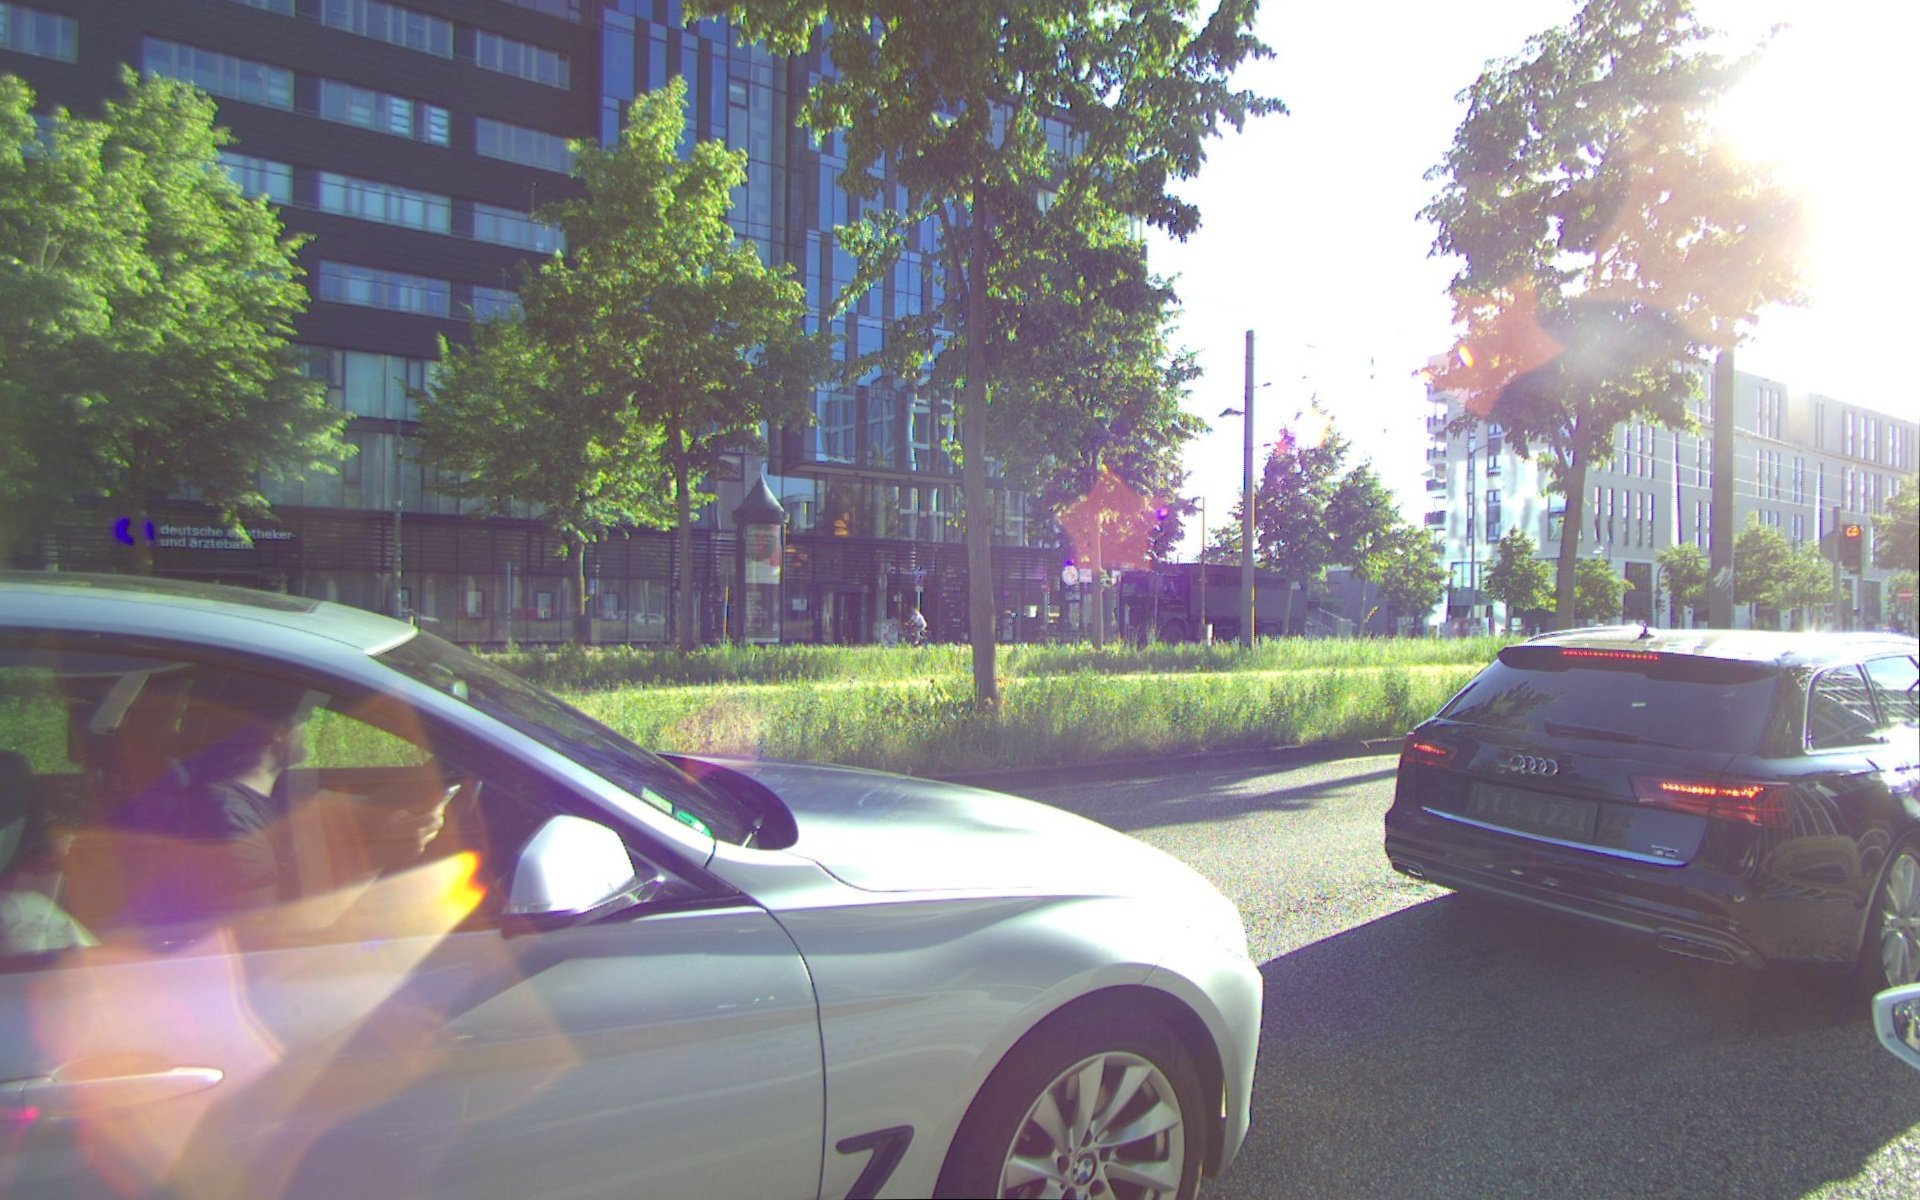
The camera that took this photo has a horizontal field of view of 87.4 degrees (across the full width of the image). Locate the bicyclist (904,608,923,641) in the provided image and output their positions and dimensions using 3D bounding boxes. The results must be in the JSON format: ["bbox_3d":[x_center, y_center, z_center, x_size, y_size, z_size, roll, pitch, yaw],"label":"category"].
[{"bbox_3d":[-2.057,1.094,44.480,0.619,1.425,0.490,2,0,-30],"label":"bicyclist"}]

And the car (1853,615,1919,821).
[{"bbox_3d":[9.219,0.924,8.126,4.064,1.548,1.800,1,-1,-30],"label":"car"}]

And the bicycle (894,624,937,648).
[{"bbox_3d":[-1.971,1.609,44.536,1.826,1.047,0.525,2,0,-31],"label":"bicycle"}]

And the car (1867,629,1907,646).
[{"bbox_3d":[79.188,3.186,85.766,3.669,1.360,1.572,2,-1,-31],"label":"car"}]

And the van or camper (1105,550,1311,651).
[{"bbox_3d":[11.563,0.151,46.270,10.109,4.248,2.740,2,-1,-30],"label":"van or camper"}]

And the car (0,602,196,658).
[{"bbox_3d":[-24.509,0.847,28.722,3.950,1.525,1.746,1,-1,-28],"label":"car"}]

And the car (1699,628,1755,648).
[{"bbox_3d":[53.033,2.623,69.461,4.420,1.360,1.572,2,-1,-31],"label":"car"}]

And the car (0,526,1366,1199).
[{"bbox_3d":[-1.502,0.675,1.916,4.689,1.508,1.799,1,-1,-31],"label":"car"}]

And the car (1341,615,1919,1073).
[{"bbox_3d":[4.201,0.849,5.197,4.455,1.476,1.799,1,-1,-31],"label":"car"}]
